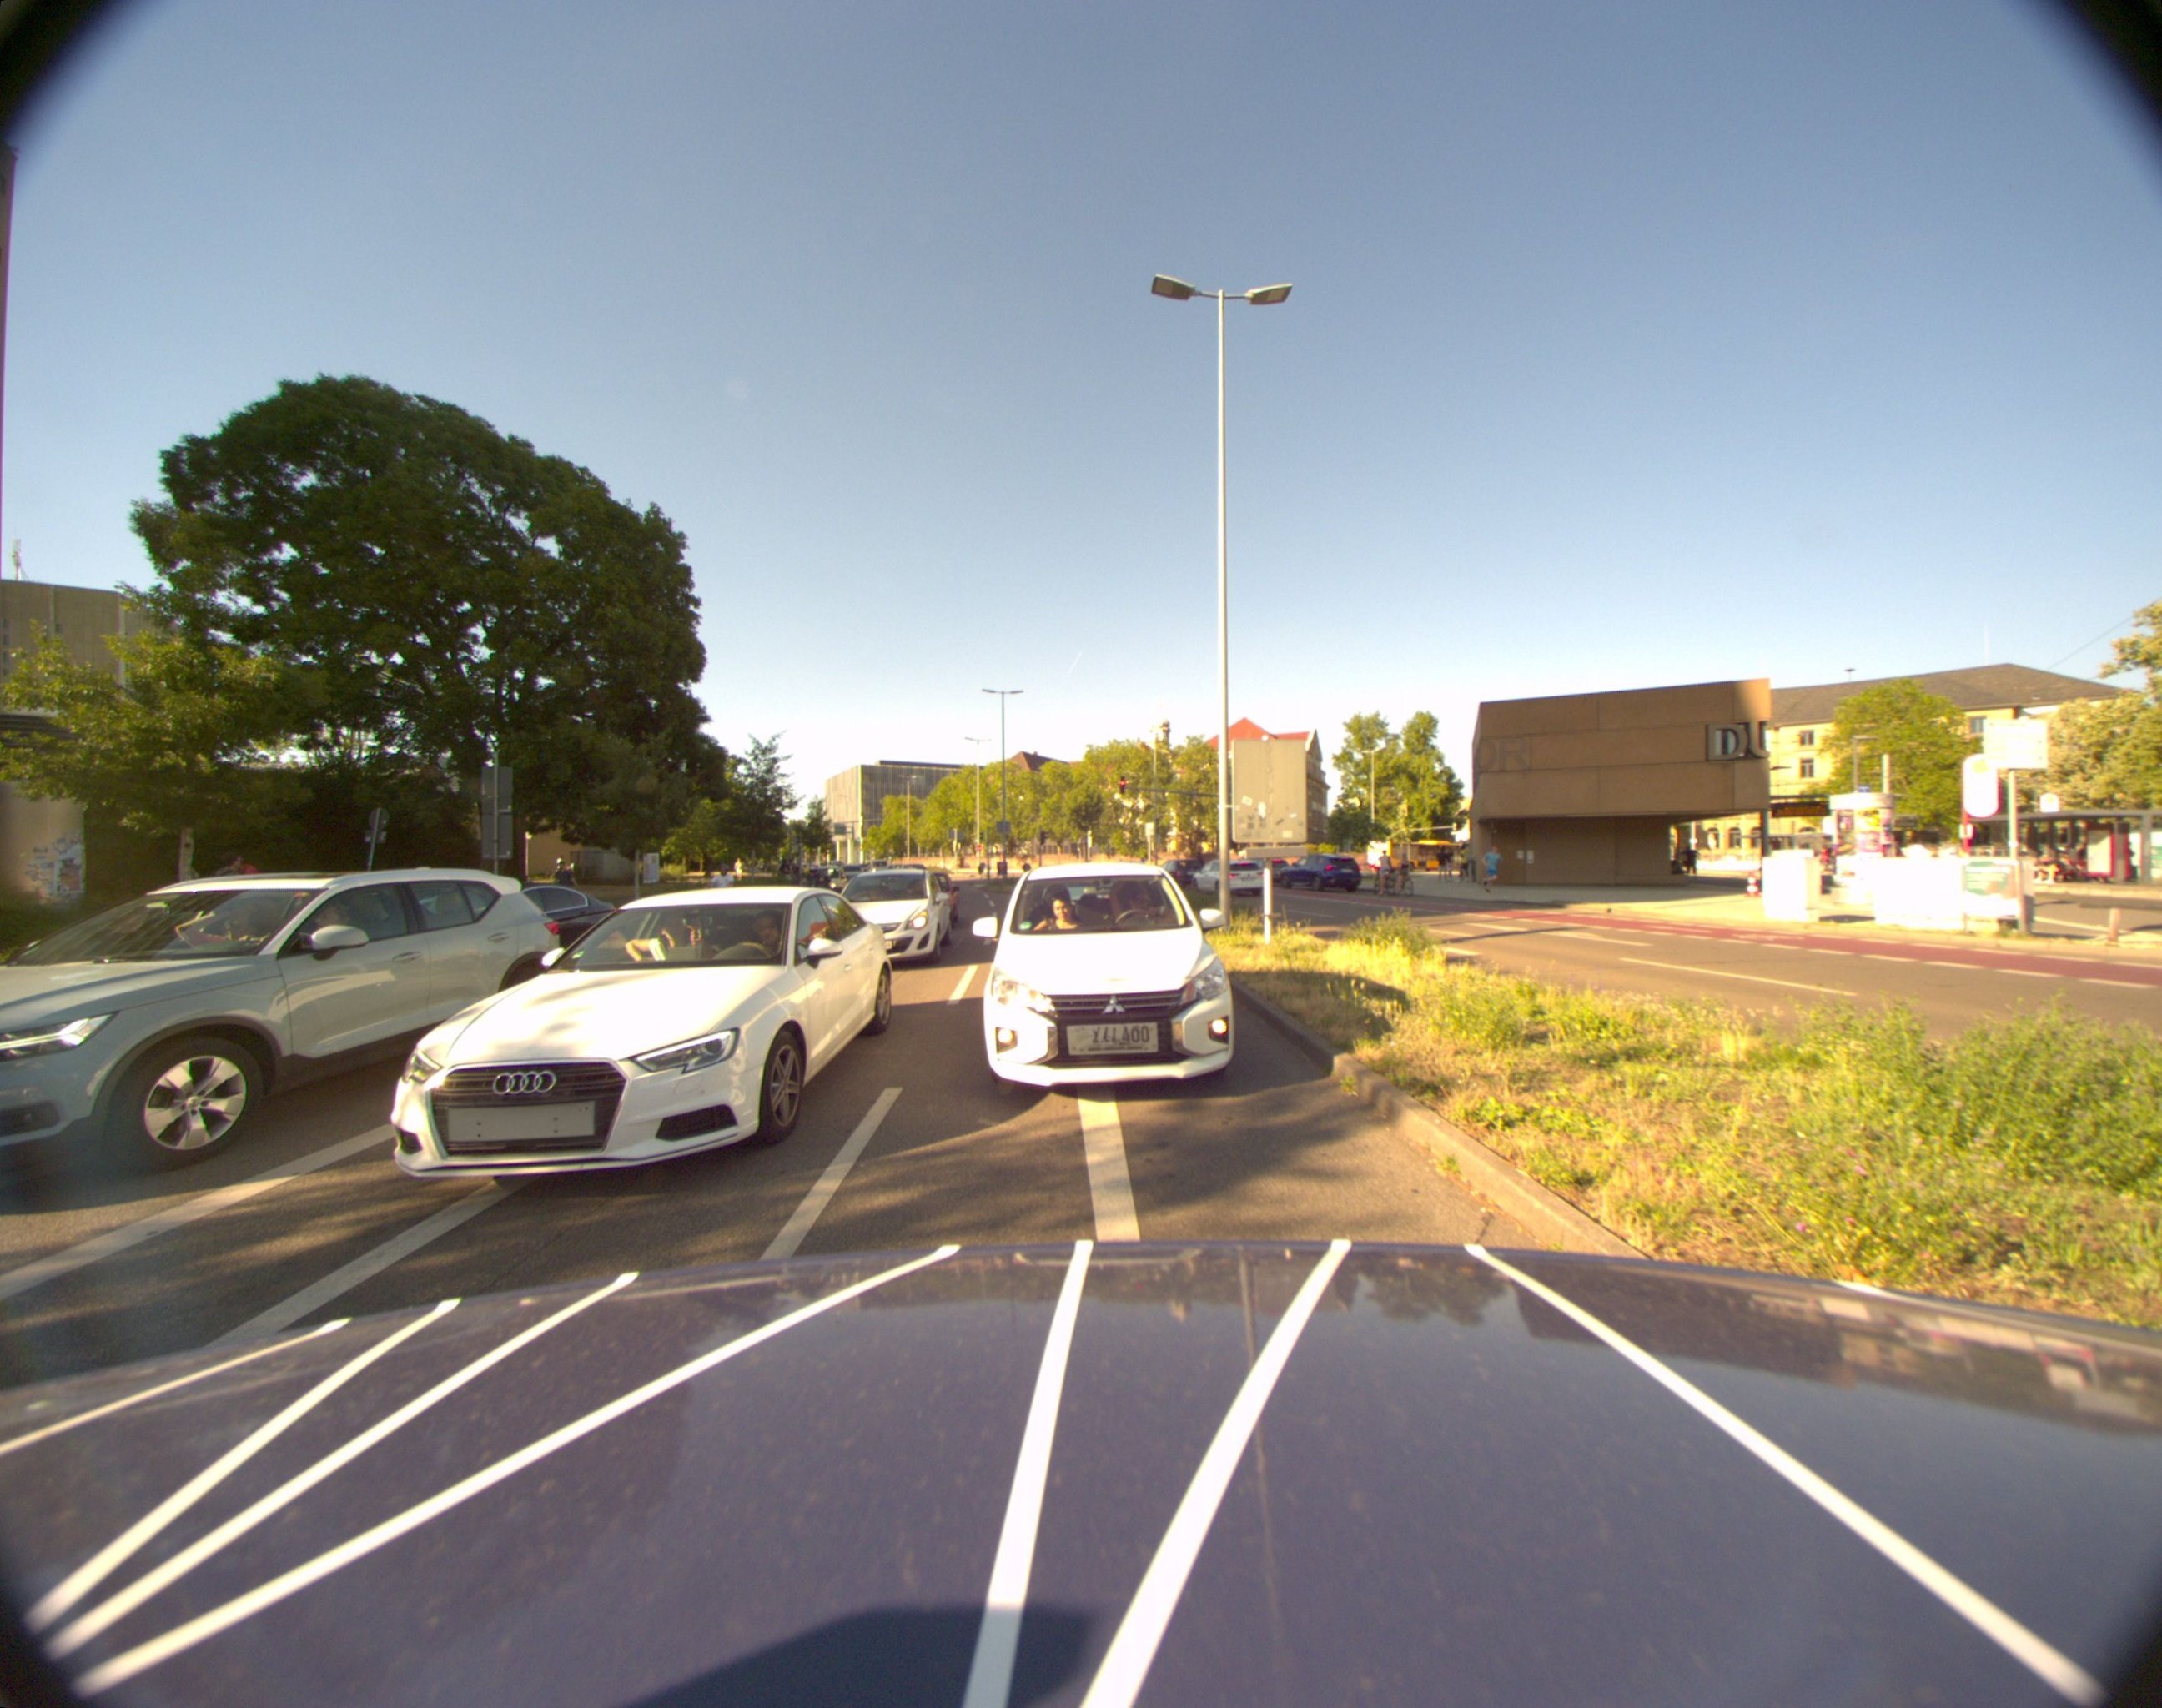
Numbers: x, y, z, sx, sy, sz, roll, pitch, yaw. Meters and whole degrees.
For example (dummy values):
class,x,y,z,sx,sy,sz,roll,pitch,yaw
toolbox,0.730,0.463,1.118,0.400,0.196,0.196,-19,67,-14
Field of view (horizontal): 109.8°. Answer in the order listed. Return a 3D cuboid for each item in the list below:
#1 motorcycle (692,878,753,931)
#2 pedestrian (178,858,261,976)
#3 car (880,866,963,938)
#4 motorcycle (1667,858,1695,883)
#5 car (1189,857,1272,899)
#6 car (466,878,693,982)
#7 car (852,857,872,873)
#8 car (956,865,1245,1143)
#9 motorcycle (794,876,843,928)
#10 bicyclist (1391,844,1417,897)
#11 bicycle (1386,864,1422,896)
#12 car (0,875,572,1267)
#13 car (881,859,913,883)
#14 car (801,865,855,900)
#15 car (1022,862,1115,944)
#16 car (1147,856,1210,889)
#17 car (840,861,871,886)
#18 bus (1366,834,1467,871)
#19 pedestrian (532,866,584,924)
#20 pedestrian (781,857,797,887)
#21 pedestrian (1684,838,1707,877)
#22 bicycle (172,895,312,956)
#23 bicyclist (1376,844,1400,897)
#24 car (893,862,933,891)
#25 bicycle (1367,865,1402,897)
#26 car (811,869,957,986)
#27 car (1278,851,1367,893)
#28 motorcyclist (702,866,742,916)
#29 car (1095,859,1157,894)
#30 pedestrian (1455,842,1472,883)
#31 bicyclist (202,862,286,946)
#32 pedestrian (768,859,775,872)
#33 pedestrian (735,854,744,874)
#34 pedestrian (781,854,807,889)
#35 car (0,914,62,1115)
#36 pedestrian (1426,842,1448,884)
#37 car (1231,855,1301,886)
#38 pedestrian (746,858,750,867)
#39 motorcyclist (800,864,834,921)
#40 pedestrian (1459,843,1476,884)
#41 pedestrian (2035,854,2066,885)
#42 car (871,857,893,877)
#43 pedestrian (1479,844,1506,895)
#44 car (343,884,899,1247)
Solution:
class,x,y,z,sx,sy,sz,roll,pitch,yaw
motorcycle,-9.955,1.378,21.223,0.718,1.297,2.234,-2,1,-4
pedestrian,-14.153,1.015,12.496,0.464,1.875,0.696,-2,1,18
car,-3.887,1.103,19.091,1.628,1.451,4.039,-2,1,-7
motorcycle,26.243,0.714,33.220,0.948,1.061,0.331,-1,1,39
car,6.058,0.920,31.305,1.850,1.483,4.388,-2,1,-10
car,-9.216,1.297,14.459,1.756,1.451,4.186,-2,1,-5
car,-23.901,1.212,82.909,1.748,1.696,3.993,-1,0,-20
car,0.064,0.899,6.427,1.628,1.451,4.040,-2,1,-2
motorcycle,-7.536,1.353,21.934,0.718,1.297,2.234,-2,1,-4
bicyclist,12.496,0.626,29.360,0.611,2.002,0.708,-1,1,-15
bicycle,12.506,0.989,29.411,0.464,1.185,1.395,-3,1,-17
car,-5.742,1.057,5.252,1.628,1.611,4.223,-2,1,-2
car,-13.778,1.218,56.707,1.748,1.696,3.993,-1,0,-21
car,-11.788,1.285,35.604,1.746,1.516,3.996,-1,0,-9
car,-0.399,0.969,16.897,1.756,1.451,4.186,-2,1,-5
car,4.735,0.862,37.404,1.757,1.451,4.184,-2,1,-12
car,-15.101,1.255,50.756,1.748,1.536,3.993,-1,0,-20
bus,34.182,-0.194,77.018,12.565,3.193,3.079,-3,1,-34
pedestrian,-16.427,1.268,23.893,1.010,1.711,0.884,-2,1,-10
pedestrian,-15.674,0.965,40.756,0.596,1.585,0.594,-2,1,-8
pedestrian,32.219,0.187,39.828,0.780,2.002,0.771,-3,2,-42
bicycle,-16.363,1.357,14.902,0.660,0.958,2.033,0,1,-7
bicyclist,11.795,0.615,29.201,0.611,2.002,0.565,-1,1,-15
car,-9.709,1.280,43.668,1.748,1.536,3.993,-1,0,-20
bicycle,11.725,1.019,29.392,0.464,1.185,1.395,-3,1,-17
car,-3.065,1.054,12.574,1.628,1.451,4.039,-2,1,-5
car,10.446,0.716,33.213,1.757,1.680,4.183,-1,0,-14
motorcyclist,-9.937,1.011,21.048,0.718,1.297,0.735,-2,1,-4
car,2.061,0.998,35.960,1.757,1.451,4.183,-2,1,-14
pedestrian,18.575,0.414,36.931,0.655,2.002,0.469,-2,1,20
bicyclist,-16.382,0.957,14.898,0.617,1.551,0.871,-2,1,-6
pedestrian,-46.091,1.697,113.159,0.840,2.002,1.065,-3,1,-30
pedestrian,-26.476,0.749,58.881,0.548,1.521,0.603,-3,1,-19
pedestrian,-17.025,1.029,45.142,1.143,2.002,1.285,-2,1,-10
car,-8.750,1.245,3.878,1.628,1.451,4.040,-2,1,-2
pedestrian,17.578,0.434,37.514,0.777,2.002,0.773,-2,1,13
car,9.401,0.796,39.067,1.850,1.483,4.388,1,0,-10
pedestrian,-60.478,1.534,137.889,0.409,1.476,0.486,-1,1,1
motorcyclist,-7.536,1.086,21.714,0.711,1.581,0.690,-2,1,-4
pedestrian,19.205,0.458,37.766,0.655,2.002,0.469,-2,1,20
pedestrian,39.049,0.618,30.616,0.539,1.180,0.659,-2,1,29
car,-18.444,1.163,70.472,1.880,1.805,3.995,-1,0,-14
pedestrian,15.674,0.578,28.932,0.797,1.886,0.612,0,1,40
car,-2.545,1.041,5.385,1.628,1.396,3.832,-2,1,-2
